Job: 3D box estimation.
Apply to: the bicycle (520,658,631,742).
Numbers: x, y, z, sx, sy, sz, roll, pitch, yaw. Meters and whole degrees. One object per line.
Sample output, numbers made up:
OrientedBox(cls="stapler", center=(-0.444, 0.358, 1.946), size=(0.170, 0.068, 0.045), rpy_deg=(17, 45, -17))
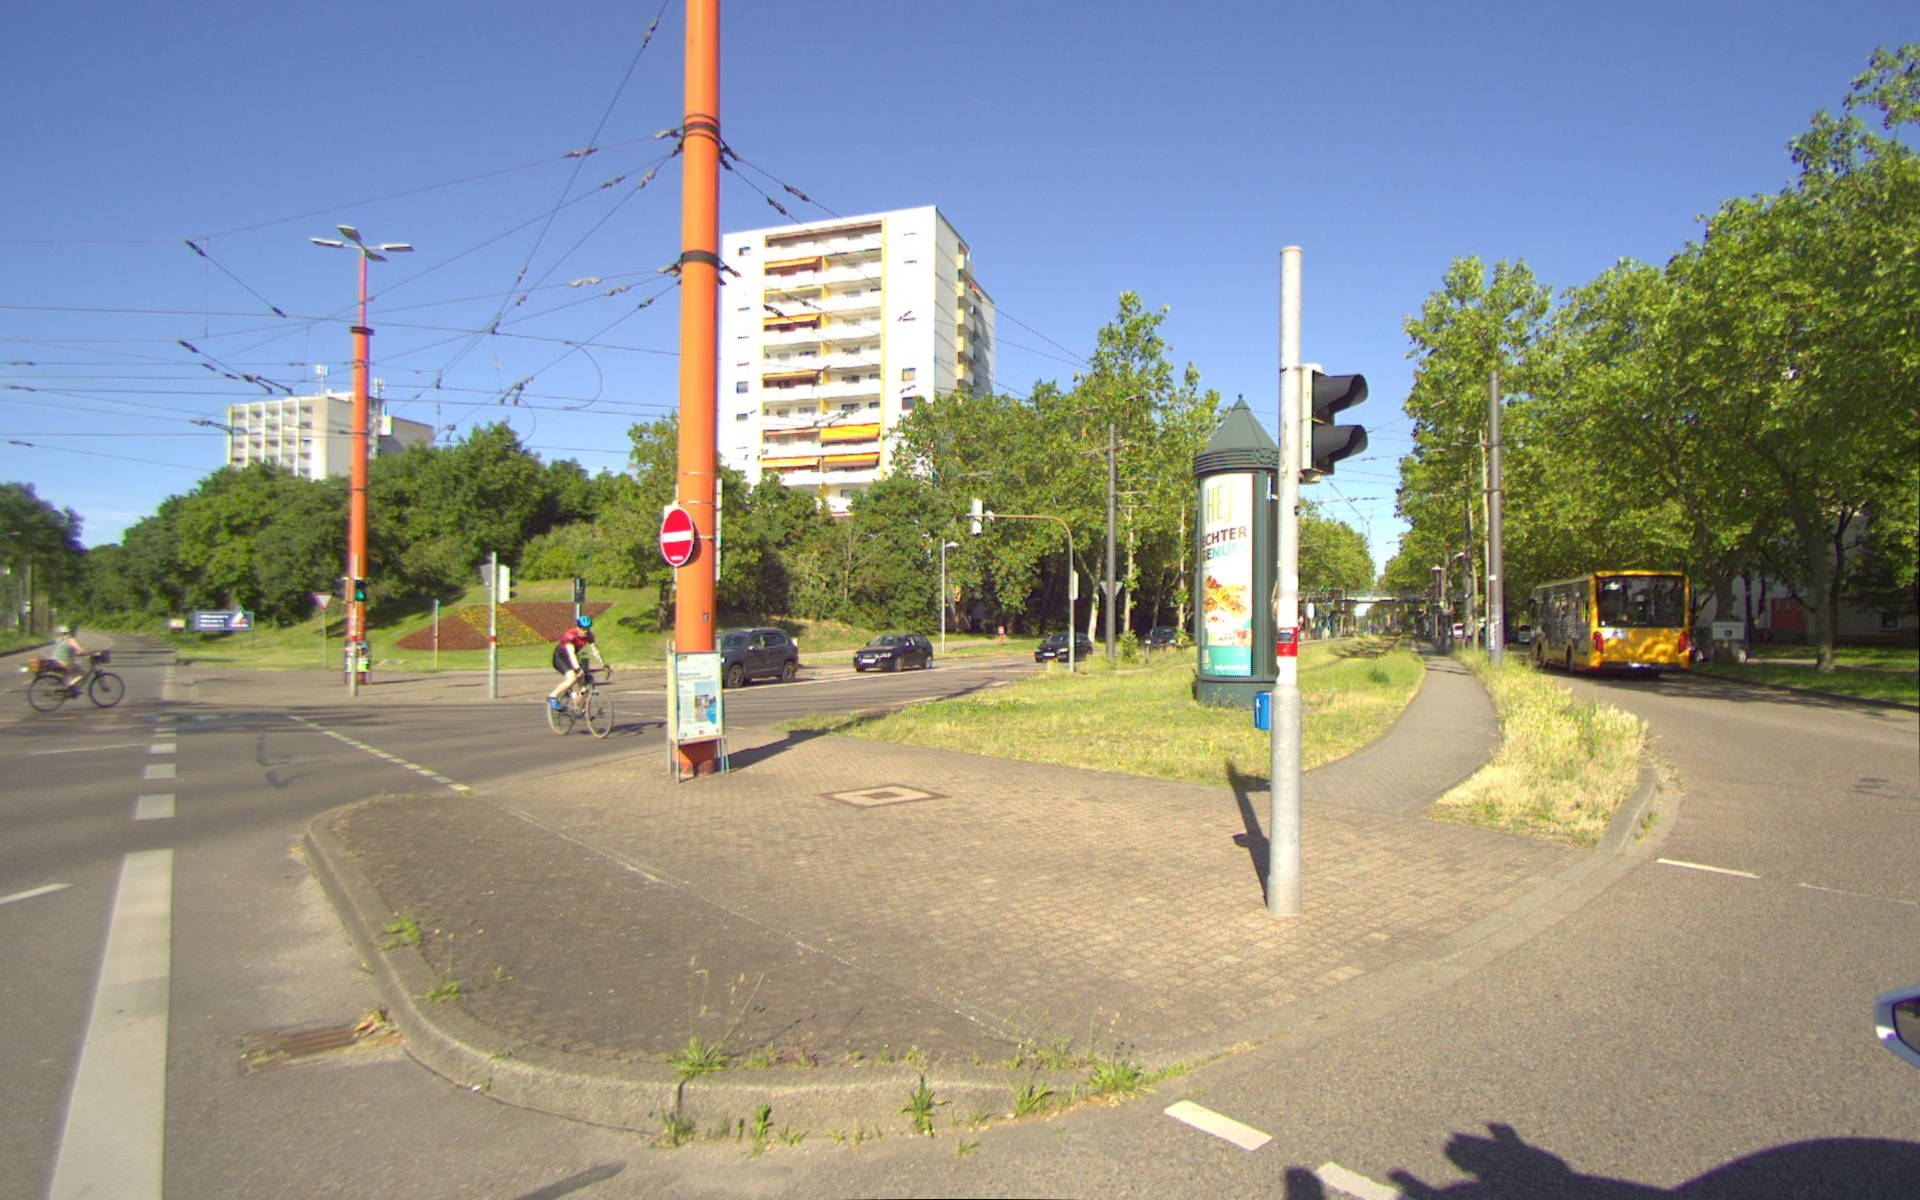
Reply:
OrientedBox(cls="bicycle", center=(-5.680, 1.439, 14.791), size=(1.887, 1.086, 0.689), rpy_deg=(-1, 0, 40))

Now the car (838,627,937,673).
OrientedBox(cls="car", center=(-2.653, 1.835, 37.851), size=(1.883, 1.516, 3.994), rpy_deg=(-1, 0, 28))

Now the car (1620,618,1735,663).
OrientedBox(cls="car", center=(31.914, 1.753, 44.796), size=(1.632, 1.841, 3.920), rpy_deg=(0, 0, -23))

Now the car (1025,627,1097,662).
OrientedBox(cls="car", center=(4.851, 2.096, 47.851), size=(1.884, 1.516, 3.992), rpy_deg=(-1, 0, 30))

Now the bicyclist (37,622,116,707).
OrientedBox(cls="bicyclist", center=(-17.629, 1.263, 20.060), size=(0.874, 1.643, 0.828), rpy_deg=(-1, 0, 14))

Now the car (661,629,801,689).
OrientedBox(cls="car", center=(-6.523, 1.650, 29.062), size=(1.882, 1.516, 4.042), rpy_deg=(-1, 0, 24))

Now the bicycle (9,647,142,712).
OrientedBox(cls="bicycle", center=(-17.643, 1.557, 20.100), size=(0.725, 1.146, 1.917), rpy_deg=(-1, 0, 15))

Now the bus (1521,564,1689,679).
OrientedBox(cls="bus", center=(22.102, 0.658, 35.227), size=(2.603, 3.304, 12.531), rpy_deg=(-1, 0, 22))

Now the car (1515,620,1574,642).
OrientedBox(cls="car", center=(54.054, 2.878, 92.944), size=(1.916, 2.010, 4.310), rpy_deg=(1, -2, -28))

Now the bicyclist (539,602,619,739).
OrientedBox(cls="bicyclist", center=(-5.588, 1.001, 14.725), size=(0.975, 1.938, 0.684), rpy_deg=(-1, 0, 37))

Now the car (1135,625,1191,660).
OrientedBox(cls="car", center=(11.727, 2.401, 57.834), size=(1.827, 1.825, 3.990), rpy_deg=(-1, 0, 32))

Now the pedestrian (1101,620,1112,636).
OrientedBox(cls="pedestrian", center=(14.551, 2.756, 99.731), size=(0.675, 1.576, 0.989), rpy_deg=(-1, -4, 32))
